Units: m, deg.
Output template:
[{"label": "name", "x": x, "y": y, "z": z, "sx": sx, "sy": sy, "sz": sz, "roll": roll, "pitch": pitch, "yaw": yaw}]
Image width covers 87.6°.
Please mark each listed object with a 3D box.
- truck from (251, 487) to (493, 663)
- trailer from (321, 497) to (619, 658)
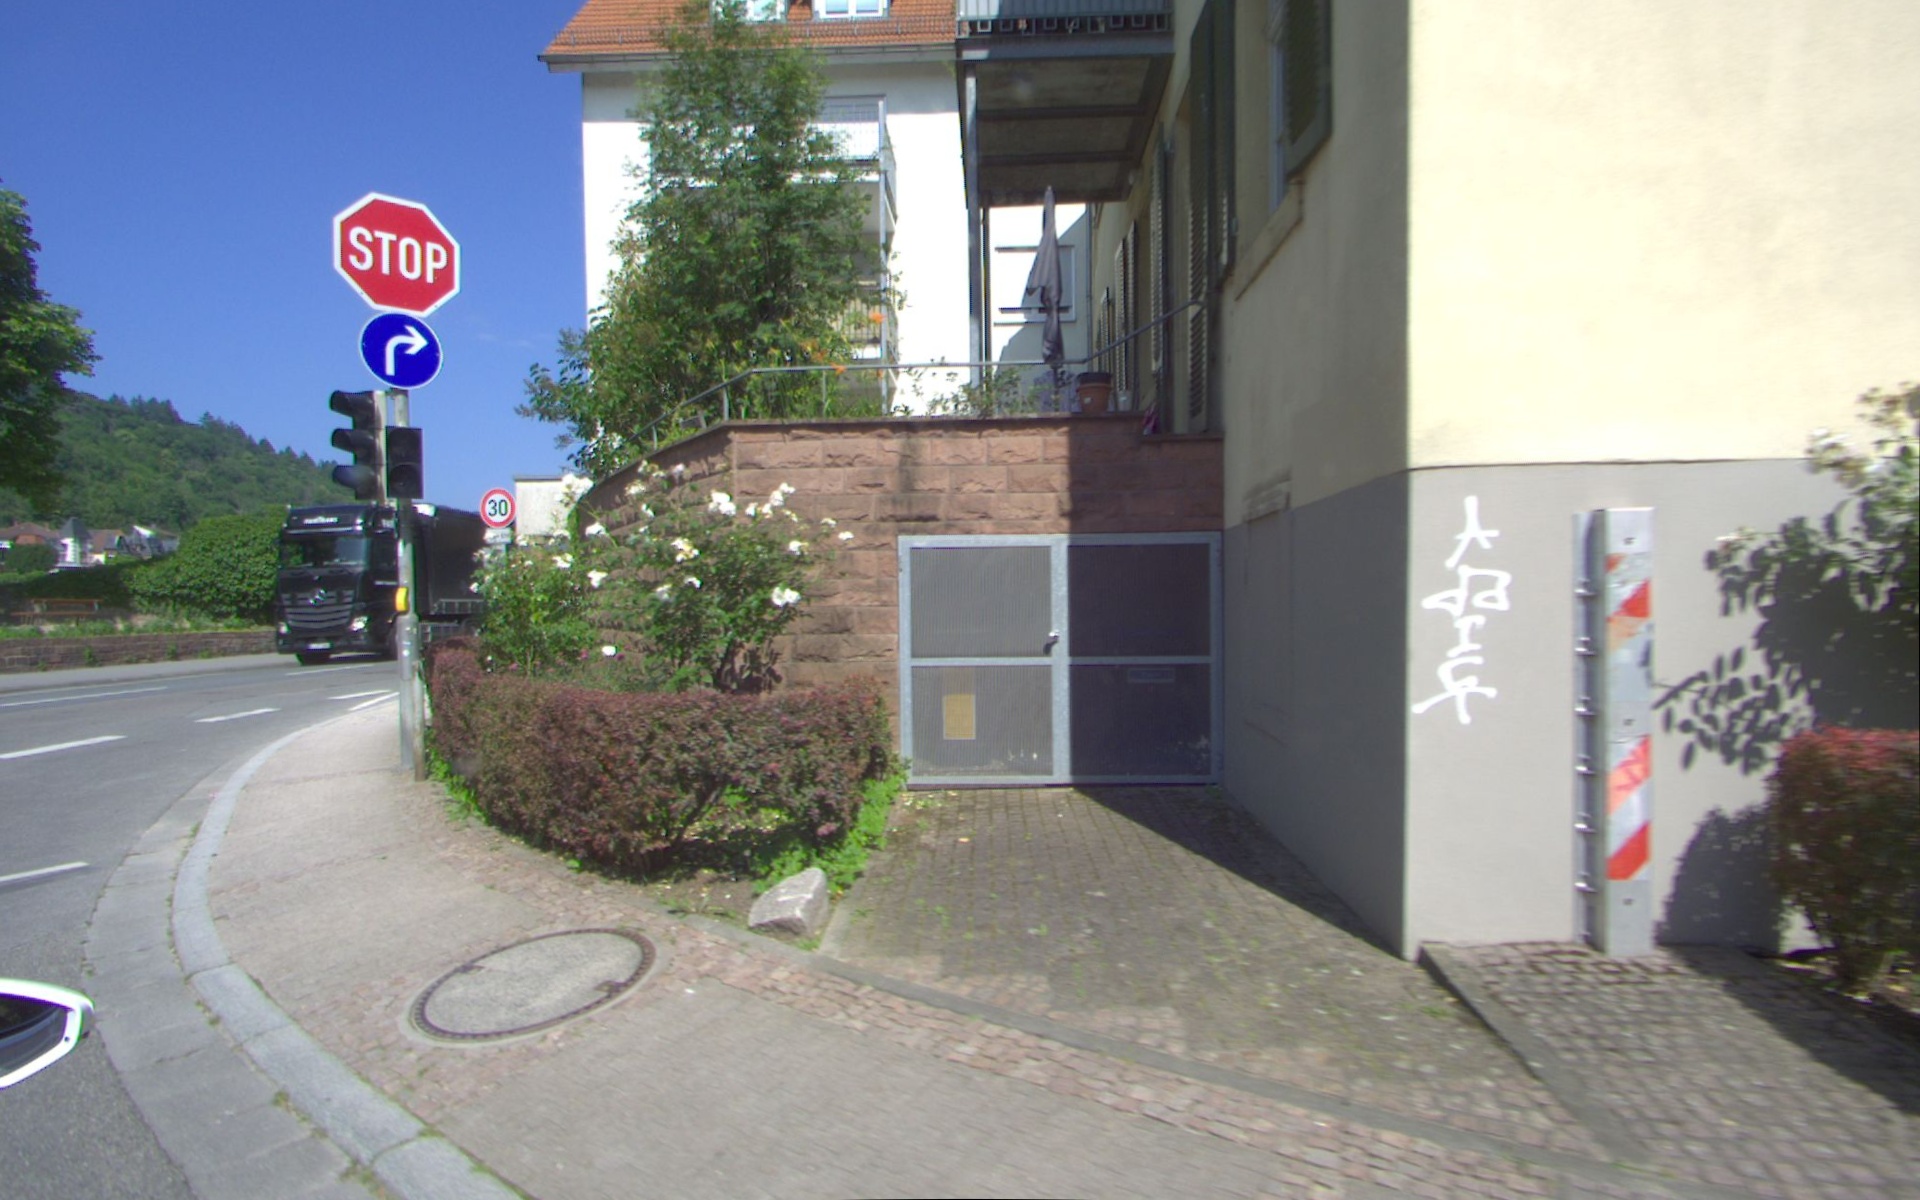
[{"label": "truck", "x": -15.470, "y": -0.601, "z": 26.966, "sx": 2.784, "sy": 4.125, "sz": 5.931, "roll": -2, "pitch": 0, "yaw": 1}, {"label": "trailer", "x": -15.355, "y": -0.622, "z": 33.480, "sx": 2.787, "sy": 4.158, "sz": 13.769, "roll": -2, "pitch": 0, "yaw": 1}]
